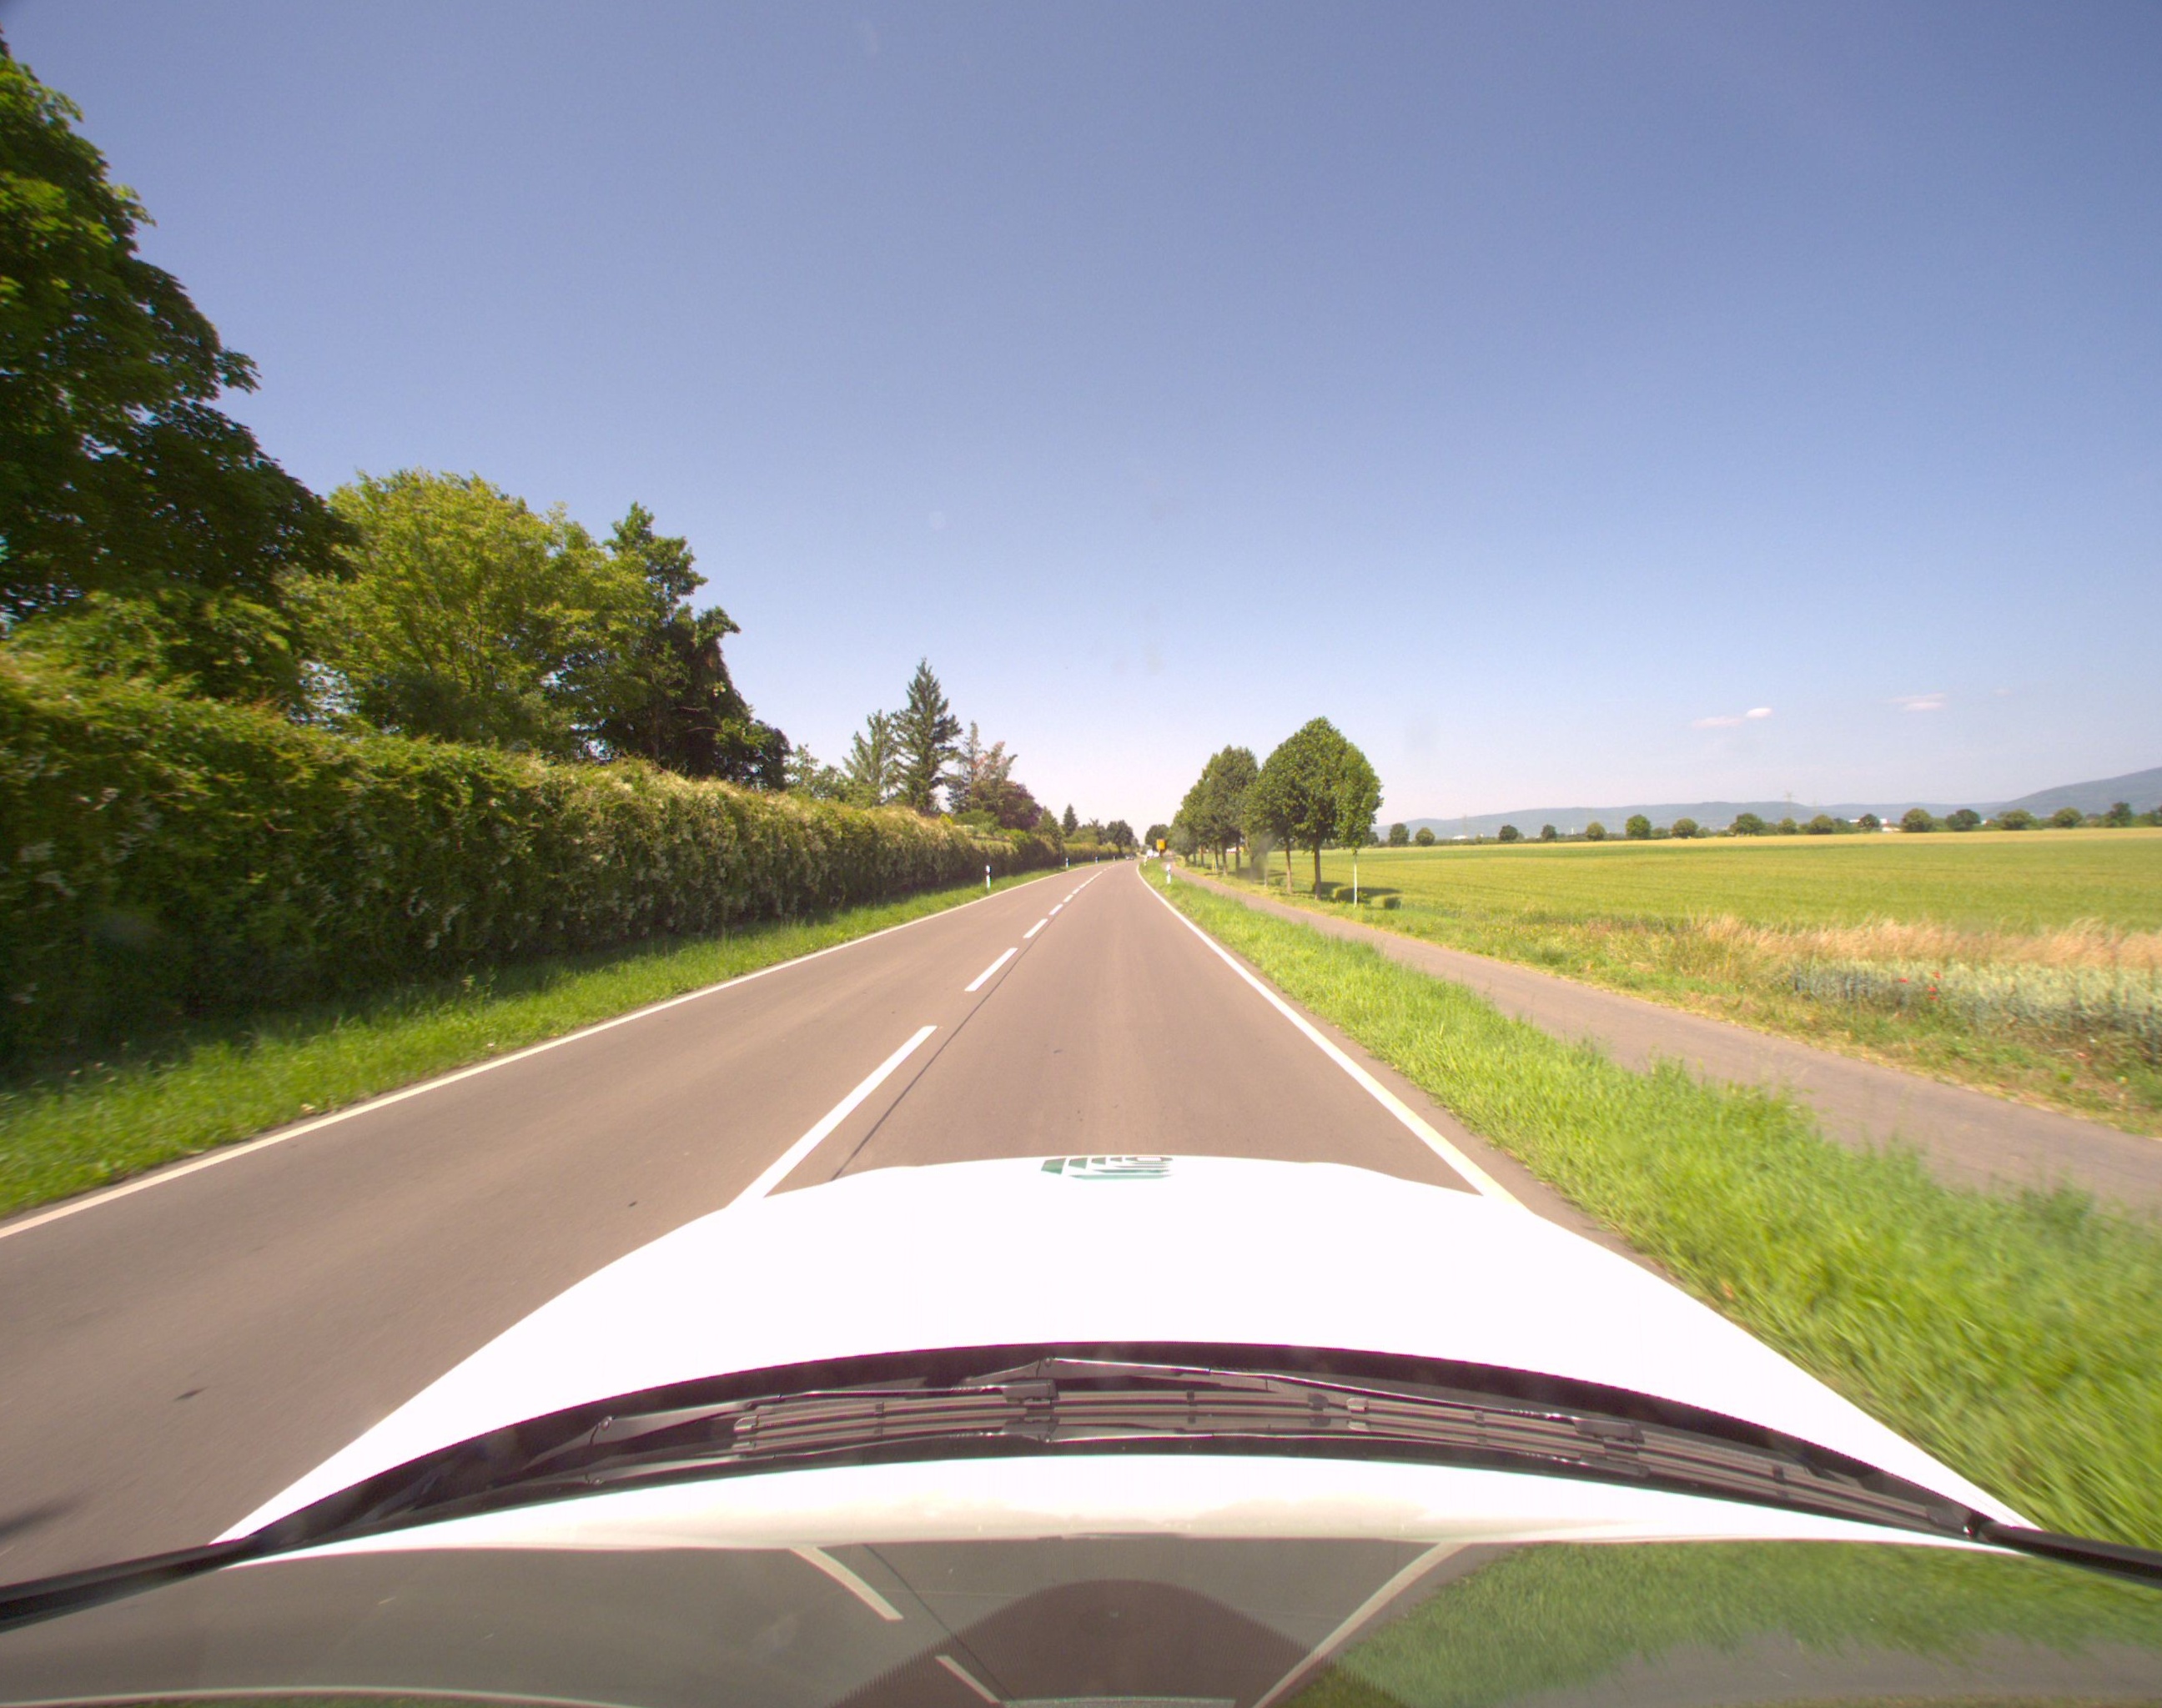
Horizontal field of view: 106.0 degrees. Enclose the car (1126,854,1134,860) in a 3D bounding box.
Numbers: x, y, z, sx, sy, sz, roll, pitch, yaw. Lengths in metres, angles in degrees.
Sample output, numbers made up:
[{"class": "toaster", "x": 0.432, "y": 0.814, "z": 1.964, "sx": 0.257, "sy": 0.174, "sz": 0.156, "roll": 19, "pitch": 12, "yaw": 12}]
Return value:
[{"class": "car", "x": 12.484, "y": 0.867, "z": 206.715, "sx": 1.832, "sy": 1.467, "sz": 3.935, "roll": -1, "pitch": 0, "yaw": 3}]
